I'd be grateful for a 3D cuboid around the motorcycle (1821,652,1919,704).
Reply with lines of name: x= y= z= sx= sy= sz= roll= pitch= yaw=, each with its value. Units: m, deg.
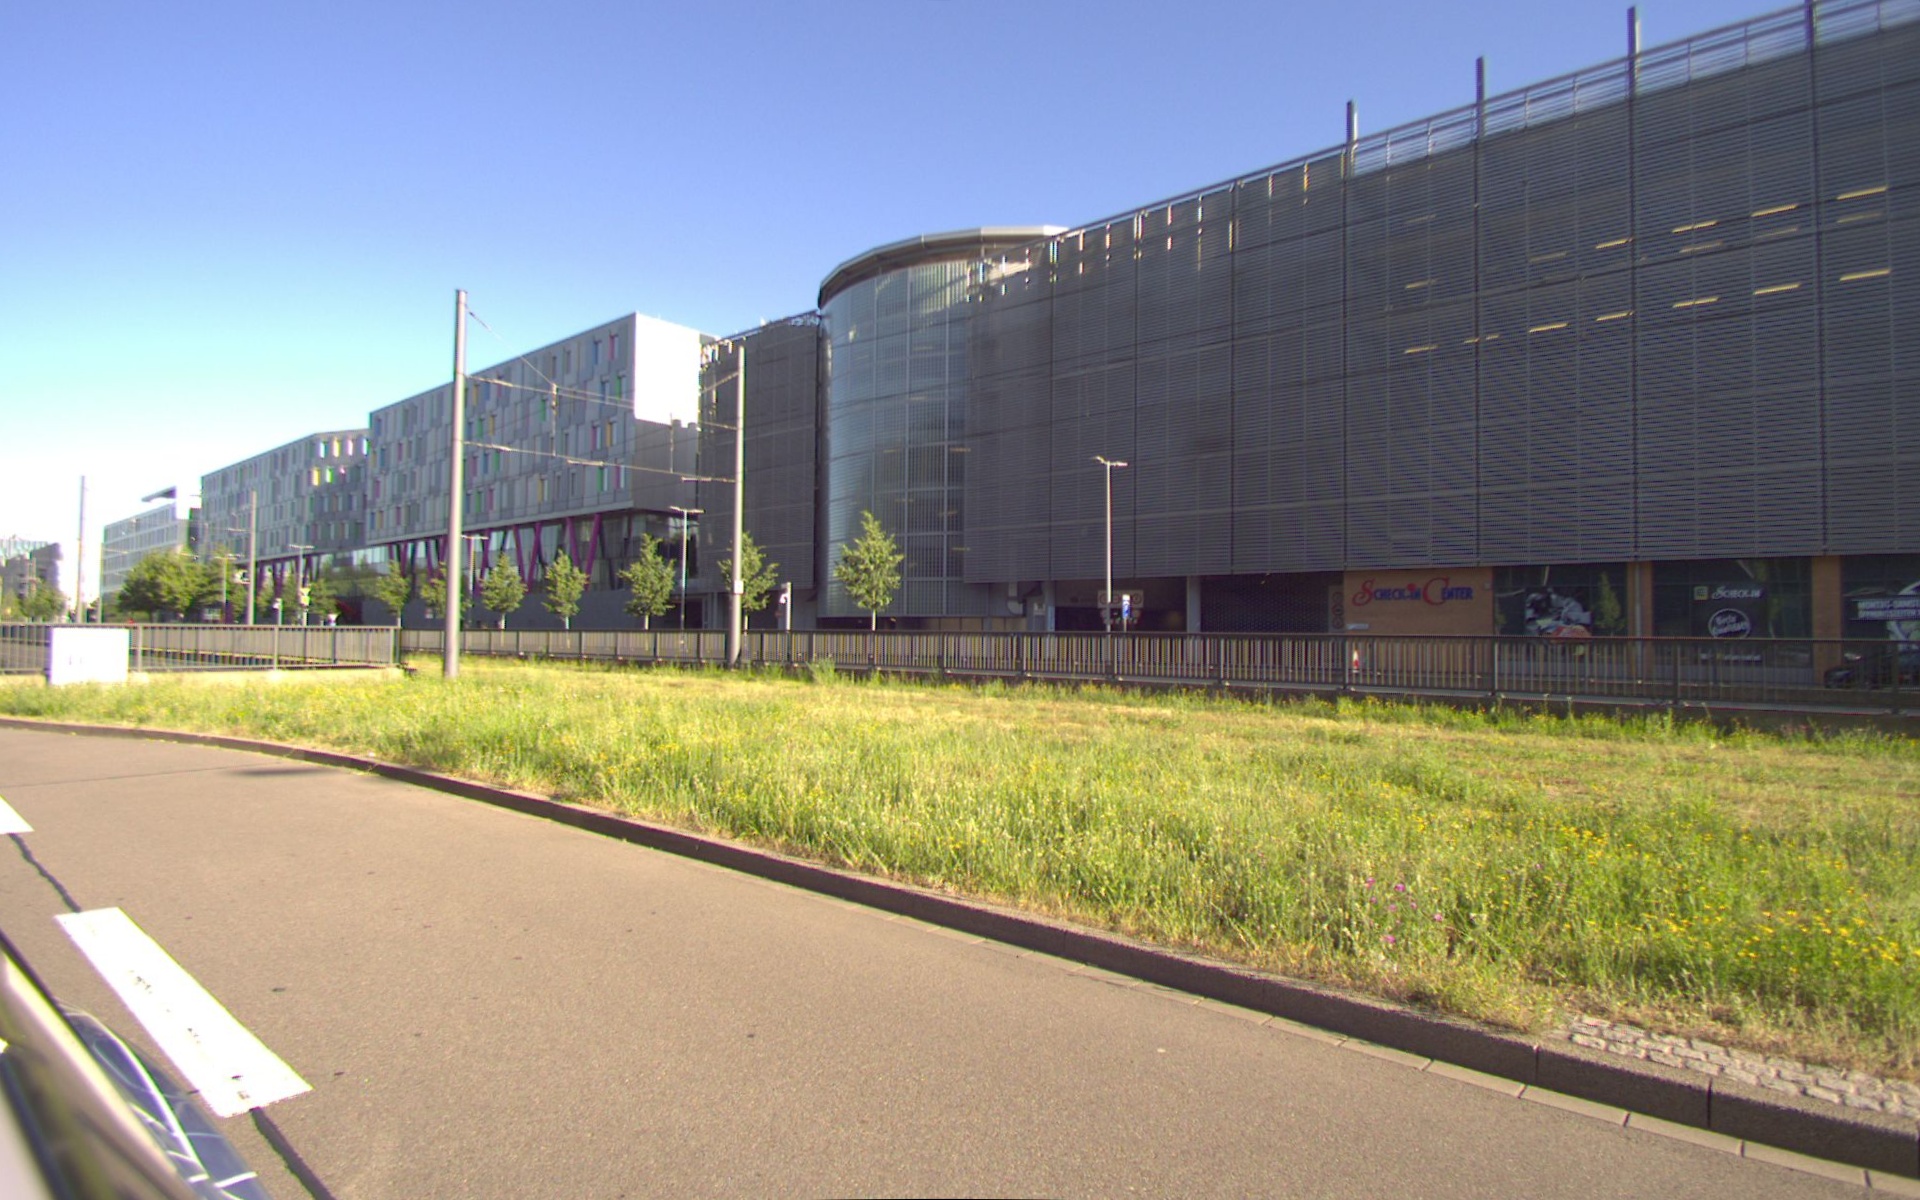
motorcycle: x=28.398 y=2.328 z=30.253 sx=3.998 sy=1.464 sz=1.973 roll=-2 pitch=-3 yaw=41
